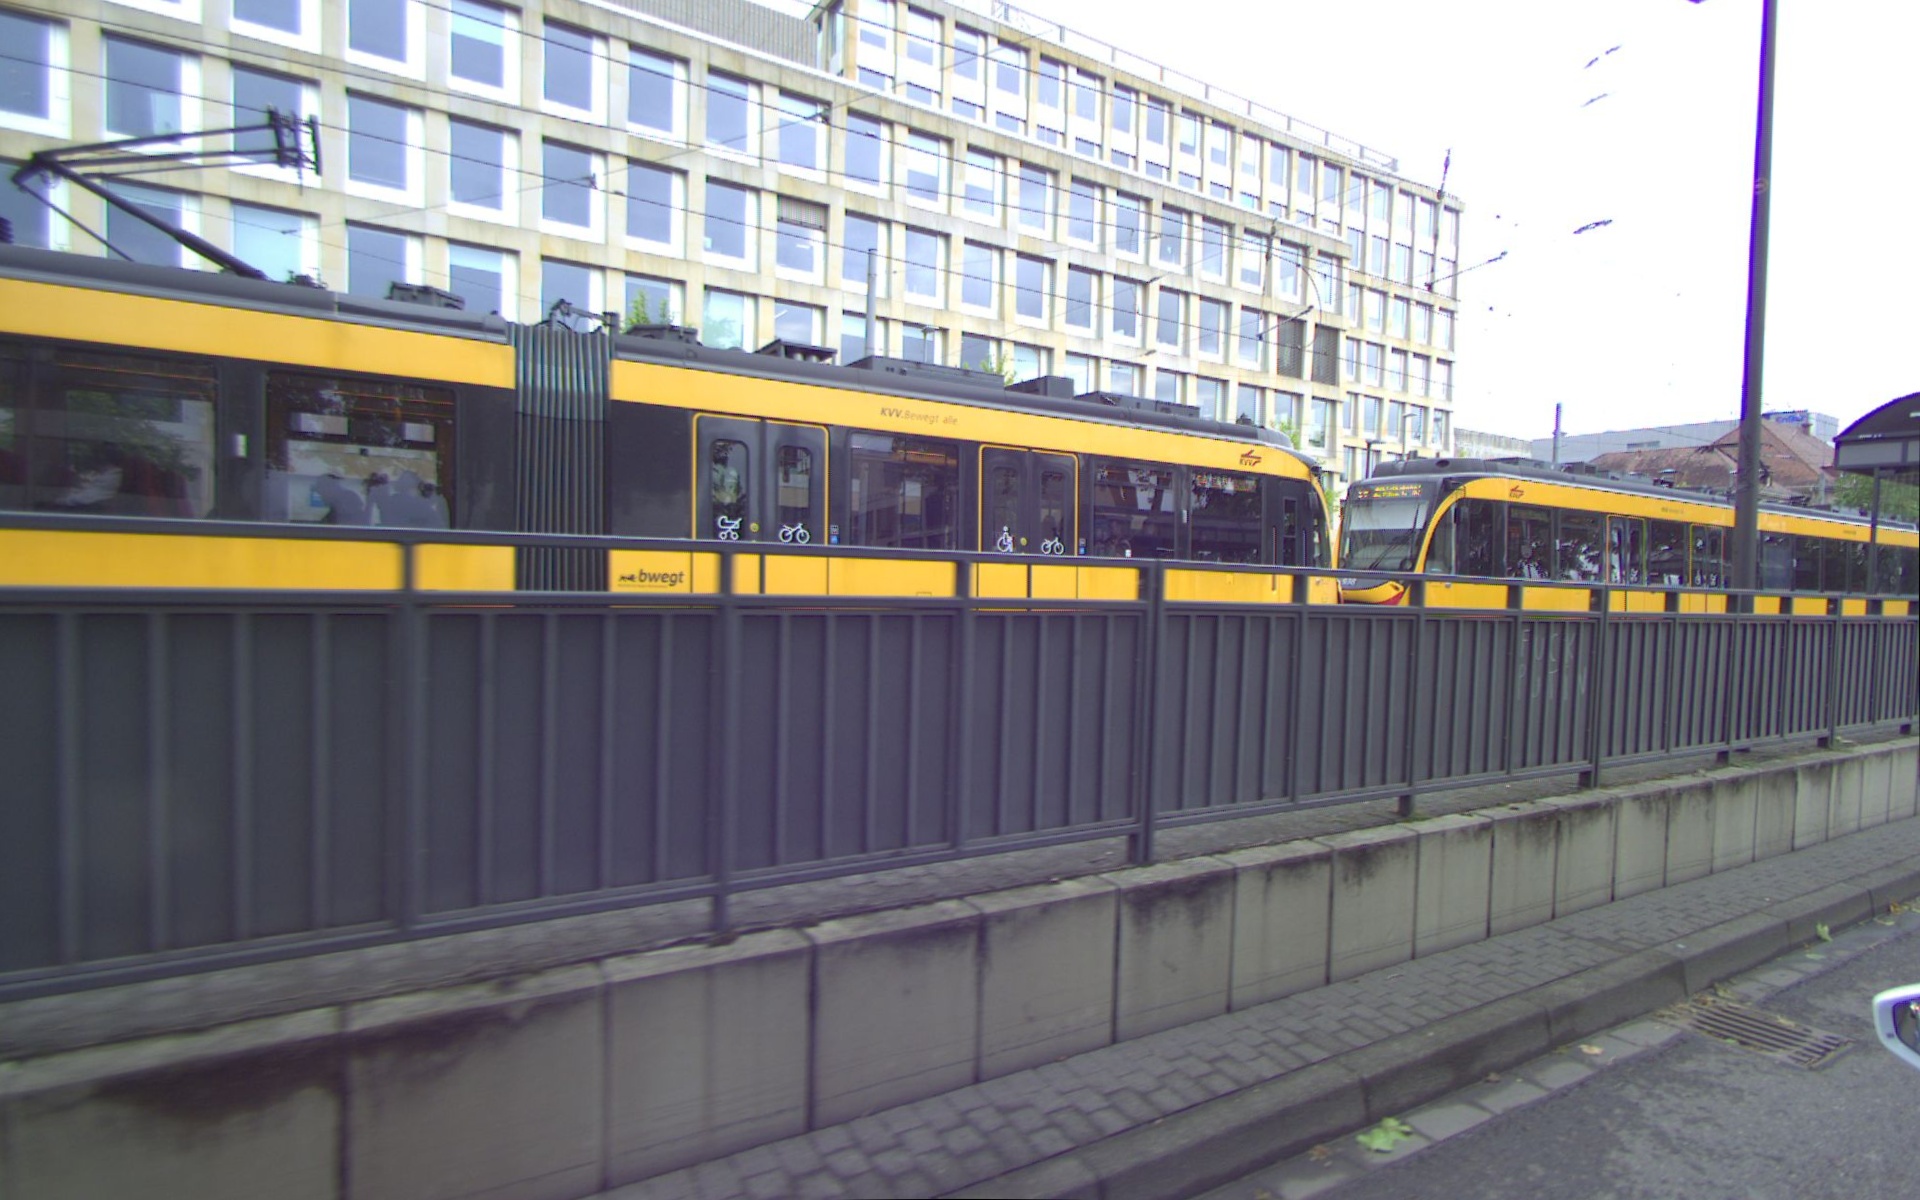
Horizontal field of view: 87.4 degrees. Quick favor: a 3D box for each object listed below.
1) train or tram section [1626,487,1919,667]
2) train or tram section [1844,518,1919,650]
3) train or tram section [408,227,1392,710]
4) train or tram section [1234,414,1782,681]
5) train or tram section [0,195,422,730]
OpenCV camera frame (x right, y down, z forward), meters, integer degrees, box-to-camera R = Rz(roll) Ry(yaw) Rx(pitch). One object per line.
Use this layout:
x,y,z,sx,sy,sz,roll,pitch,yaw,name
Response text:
24.518,-0.436,28.741,14.567,4.235,3.163,1,1,-32,train or tram section
36.966,-0.371,36.375,14.567,4.235,3.163,1,1,-32,train or tram section
0.220,-1.061,13.731,13.466,4.235,3.163,1,1,-32,train or tram section
12.170,-0.730,21.104,14.567,4.235,3.163,1,1,-32,train or tram section
-10.295,-1.104,7.204,11.183,3.914,3.146,1,1,-32,train or tram section
